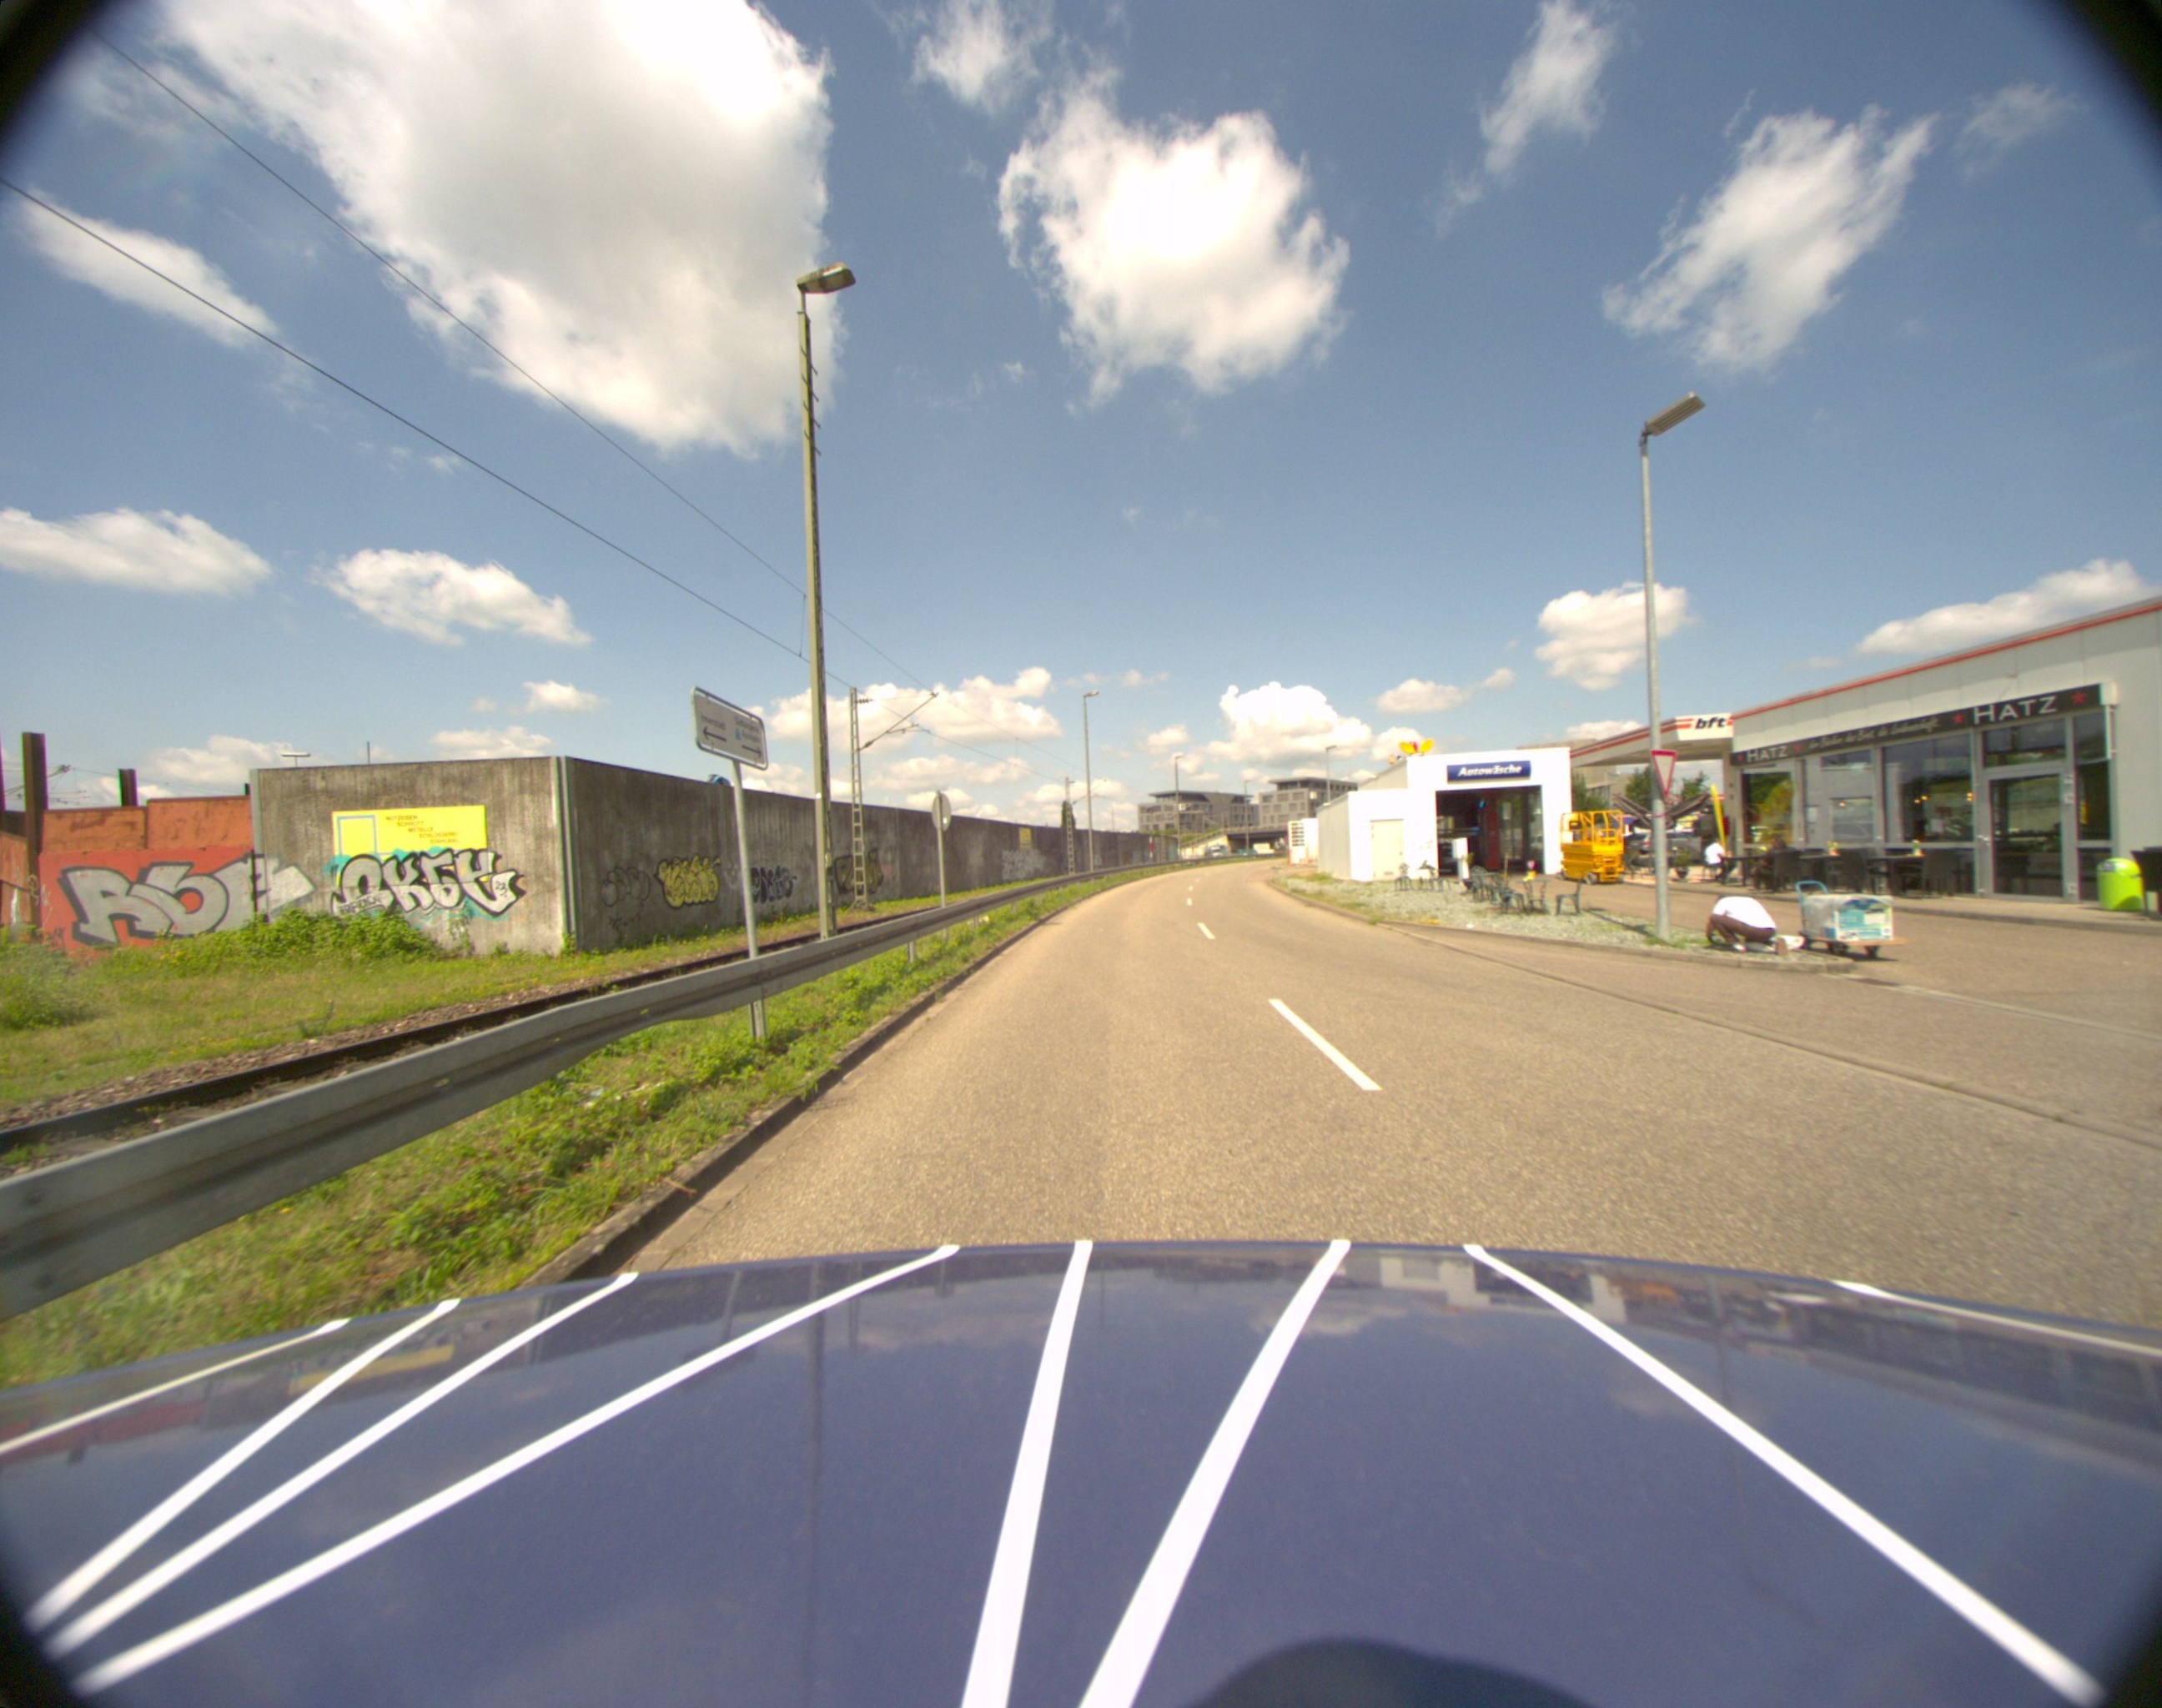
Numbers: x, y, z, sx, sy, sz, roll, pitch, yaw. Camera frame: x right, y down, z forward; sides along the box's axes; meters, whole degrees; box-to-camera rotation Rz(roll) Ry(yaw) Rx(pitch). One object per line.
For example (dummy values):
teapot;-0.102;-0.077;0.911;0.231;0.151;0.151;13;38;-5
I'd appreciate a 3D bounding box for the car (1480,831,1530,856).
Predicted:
car;32.469;-0.830;58.324;1.997;1.757;4.601;-1;1;12

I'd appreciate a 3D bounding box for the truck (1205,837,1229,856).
truck;27.942;-1.579;156.283;2.655;3.625;6.882;-4;1;-9

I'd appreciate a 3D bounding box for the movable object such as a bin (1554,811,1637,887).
movable object such as a bin;15.505;-0.198;23.005;1.064;2.140;2.705;-2;2;11

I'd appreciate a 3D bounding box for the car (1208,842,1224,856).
car;25.759;-1.058;145.052;2.065;2.512;5.881;-3;1;1

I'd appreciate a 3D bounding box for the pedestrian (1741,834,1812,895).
pedestrian;15.091;0.220;16.510;0.754;1.249;0.899;-3;1;12

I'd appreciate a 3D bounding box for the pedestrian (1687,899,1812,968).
pedestrian;8.372;0.986;9.560;0.864;0.755;0.818;-2;0;9

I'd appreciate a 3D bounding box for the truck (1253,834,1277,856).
truck;30.837;-1.534;127.318;2.991;3.400;8.117;-2;1;8

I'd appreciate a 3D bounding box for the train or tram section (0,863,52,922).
train or tram section;-69.169;2.462;46.695;3.308;3.695;12.520;-3;0;-36

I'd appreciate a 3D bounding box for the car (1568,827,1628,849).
car;38.857;-1.203;57.255;1.997;1.543;4.600;-2;1;10

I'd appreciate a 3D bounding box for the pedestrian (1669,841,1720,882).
pedestrian;17.175;0.205;21.298;0.820;1.104;0.756;-2;1;10

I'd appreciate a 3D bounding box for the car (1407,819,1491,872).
car;16.011;-0.383;33.362;1.997;2.097;5.013;-2;1;10

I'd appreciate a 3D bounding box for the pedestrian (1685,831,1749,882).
pedestrian;17.009;0.062;20.336;0.941;1.300;0.864;-3;1;-6

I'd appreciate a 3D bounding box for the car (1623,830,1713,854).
car;39.912;-0.833;51.722;4.526;1.480;1.923;-2;1;3
